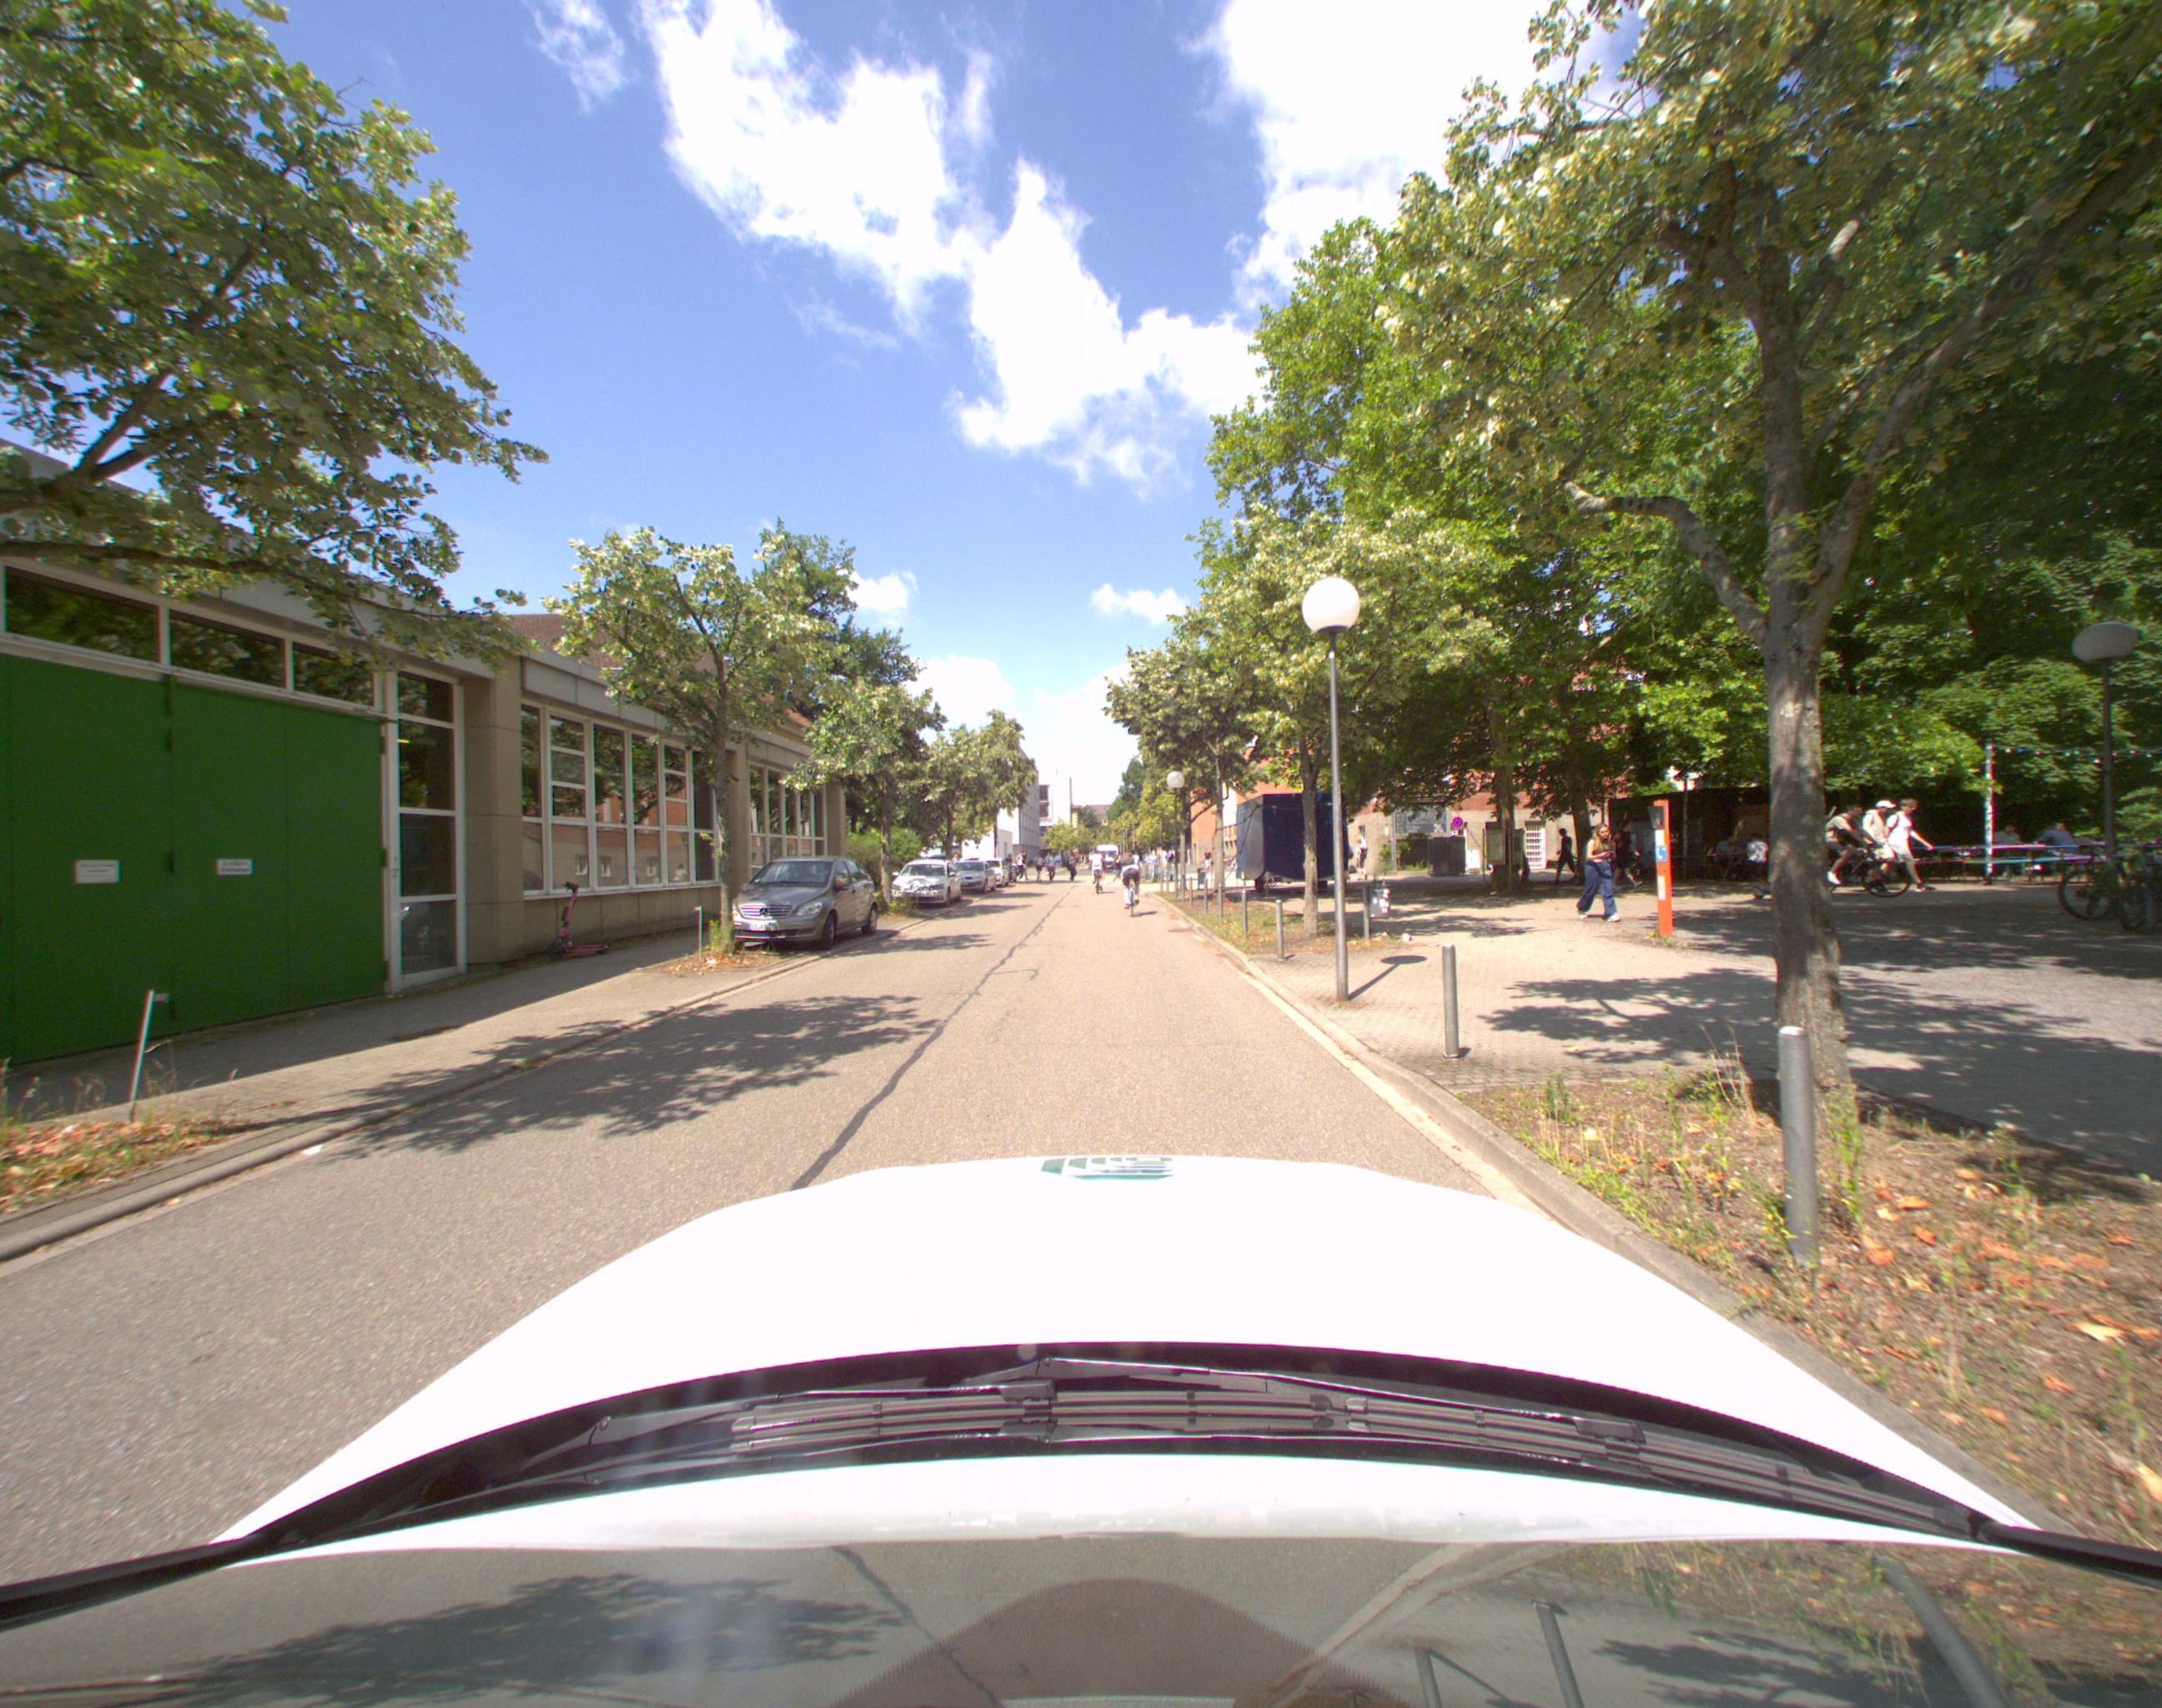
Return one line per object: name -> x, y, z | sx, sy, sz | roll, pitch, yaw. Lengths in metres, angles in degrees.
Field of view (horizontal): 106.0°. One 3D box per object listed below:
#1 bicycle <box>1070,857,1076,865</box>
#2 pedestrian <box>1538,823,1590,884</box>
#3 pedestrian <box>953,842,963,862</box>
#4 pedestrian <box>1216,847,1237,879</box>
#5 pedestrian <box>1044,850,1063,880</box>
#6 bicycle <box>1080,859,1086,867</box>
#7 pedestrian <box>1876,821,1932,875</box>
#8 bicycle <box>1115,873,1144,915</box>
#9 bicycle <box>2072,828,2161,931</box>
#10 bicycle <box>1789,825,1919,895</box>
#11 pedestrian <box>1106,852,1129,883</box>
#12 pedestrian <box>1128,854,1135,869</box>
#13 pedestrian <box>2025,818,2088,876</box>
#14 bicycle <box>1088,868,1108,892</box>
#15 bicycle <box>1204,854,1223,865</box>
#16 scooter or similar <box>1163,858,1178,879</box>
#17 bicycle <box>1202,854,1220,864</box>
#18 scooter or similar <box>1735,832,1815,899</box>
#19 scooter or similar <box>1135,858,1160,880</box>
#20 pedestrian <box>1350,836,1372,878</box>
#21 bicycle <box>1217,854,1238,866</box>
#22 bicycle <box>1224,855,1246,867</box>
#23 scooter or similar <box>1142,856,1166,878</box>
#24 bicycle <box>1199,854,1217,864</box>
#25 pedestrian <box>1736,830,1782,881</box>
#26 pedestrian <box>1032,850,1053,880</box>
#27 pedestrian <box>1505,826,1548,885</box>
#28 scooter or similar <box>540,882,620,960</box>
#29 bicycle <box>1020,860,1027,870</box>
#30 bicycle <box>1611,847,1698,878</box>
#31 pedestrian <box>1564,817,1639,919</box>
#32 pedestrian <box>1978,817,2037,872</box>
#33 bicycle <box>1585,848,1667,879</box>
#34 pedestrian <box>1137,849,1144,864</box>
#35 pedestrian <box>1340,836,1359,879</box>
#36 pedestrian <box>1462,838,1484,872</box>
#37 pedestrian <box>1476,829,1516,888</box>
bicycle -> -1.044, 0.954, 107.851 | 0.675, 0.965, 2.002 | -2, 0, -1
pedestrian -> 14.664, -0.020, 24.738 | 0.957, 1.775, 0.917 | -2, 0, -7
pedestrian -> -11.071, -0.193, 73.252 | 0.690, 1.749, 0.636 | -1, -1, 1
pedestrian -> 7.935, 0.477, 44.426 | 0.872, 1.637, 0.949 | -6, 0, 1
pedestrian -> -1.663, 0.664, 49.098 | 0.897, 1.739, 0.683 | -2, -1, 39
bicycle -> 0.242, 1.211, 108.462 | 0.675, 0.964, 2.003 | -4, 0, 1
pedestrian -> 21.609, -0.159, 21.403 | 0.665, 1.346, 0.718 | -4, 0, -3
bicycle -> 1.250, 1.012, 20.935 | 0.703, 0.993, 1.912 | -1, -1, 4
bicycle -> 12.662, 0.267, 9.644 | 1.810, 1.118, 0.608 | -3, 0, -21
bicycle -> 14.927, 0.119, 15.787 | 0.531, 1.252, 1.726 | -3, 0, -19
pedestrian -> 1.934, 0.742, 43.244 | 0.855, 1.595, 0.820 | -3, 0, -42
pedestrian -> 6.348, 0.960, 102.389 | 0.787, 1.860, 1.026 | -2, 0, 2
pedestrian -> 22.728, -0.162, 18.988 | 0.665, 1.271, 0.621 | -4, 0, -3
bicycle -> 0.715, 1.111, 34.944 | 0.805, 1.002, 2.124 | -2, -2, 1
bicycle -> 13.694, 0.543, 84.027 | 1.803, 0.985, 0.560 | -3, 0, 0
scooter or similar -> 5.140, 0.844, 46.732 | 0.643, 1.160, 1.270 | -2, 0, 17
bicycle -> 13.625, 0.545, 85.563 | 1.803, 0.985, 0.560 | -3, 0, 0
scooter or similar -> 13.273, 0.212, 15.608 | 0.422, 1.219, 1.295 | -2, -1, 2
scooter or similar -> 3.870, 0.881, 47.529 | 1.248, 1.265, 0.655 | -2, 0, 33
pedestrian -> 12.192, 0.112, 35.493 | 0.593, 1.796, 0.727 | -4, 1, -2
bicycle -> 13.417, 0.548, 74.808 | 1.803, 0.985, 0.560 | -3, 0, 0
bicycle -> 13.462, 0.598, 71.197 | 1.803, 0.912, 0.560 | -3, 0, 0
scooter or similar -> 4.402, 0.805, 49.110 | 1.248, 1.265, 0.644 | -2, 0, 33
bicycle -> 13.751, 0.536, 87.899 | 1.803, 0.985, 0.560 | -3, 0, 0
pedestrian -> 18.754, 0.039, 22.543 | 0.568, 1.346, 0.728 | -4, 0, -3
pedestrian -> -2.289, 0.652, 48.460 | 0.971, 1.739, 0.705 | -2, -2, 41
pedestrian -> 12.983, 0.055, 23.758 | 0.762, 1.661, 0.824 | -2, -1, 1
scooter or similar -> -8.115, 1.059, 13.236 | 0.503, 1.169, 1.216 | 0, 0, 2
bicycle -> -6.374, 1.228, 90.668 | 0.520, 0.985, 1.635 | -3, 0, 6
bicycle -> 20.190, 0.289, 28.699 | 2.379, 1.072, 0.786 | 0, -1, 13
pedestrian -> 8.428, 0.216, 13.220 | 0.566, 1.571, 0.928 | -3, 0, 2
pedestrian -> 22.567, -0.233, 19.843 | 0.665, 1.271, 0.621 | -4, 0, -3
bicycle -> 19.961, 0.351, 29.858 | 2.383, 1.072, 0.785 | -2, -1, 8
pedestrian -> 7.345, 0.325, 100.621 | 0.787, 1.860, 1.026 | -3, 0, 2
pedestrian -> 11.576, 0.156, 35.070 | 0.593, 1.796, 0.406 | -4, 1, -3
pedestrian -> 19.339, 0.045, 40.147 | 0.657, 1.607, 0.678 | -2, 0, -14
pedestrian -> 12.101, 0.138, 23.768 | 0.695, 1.661, 0.788 | -2, -1, 1
